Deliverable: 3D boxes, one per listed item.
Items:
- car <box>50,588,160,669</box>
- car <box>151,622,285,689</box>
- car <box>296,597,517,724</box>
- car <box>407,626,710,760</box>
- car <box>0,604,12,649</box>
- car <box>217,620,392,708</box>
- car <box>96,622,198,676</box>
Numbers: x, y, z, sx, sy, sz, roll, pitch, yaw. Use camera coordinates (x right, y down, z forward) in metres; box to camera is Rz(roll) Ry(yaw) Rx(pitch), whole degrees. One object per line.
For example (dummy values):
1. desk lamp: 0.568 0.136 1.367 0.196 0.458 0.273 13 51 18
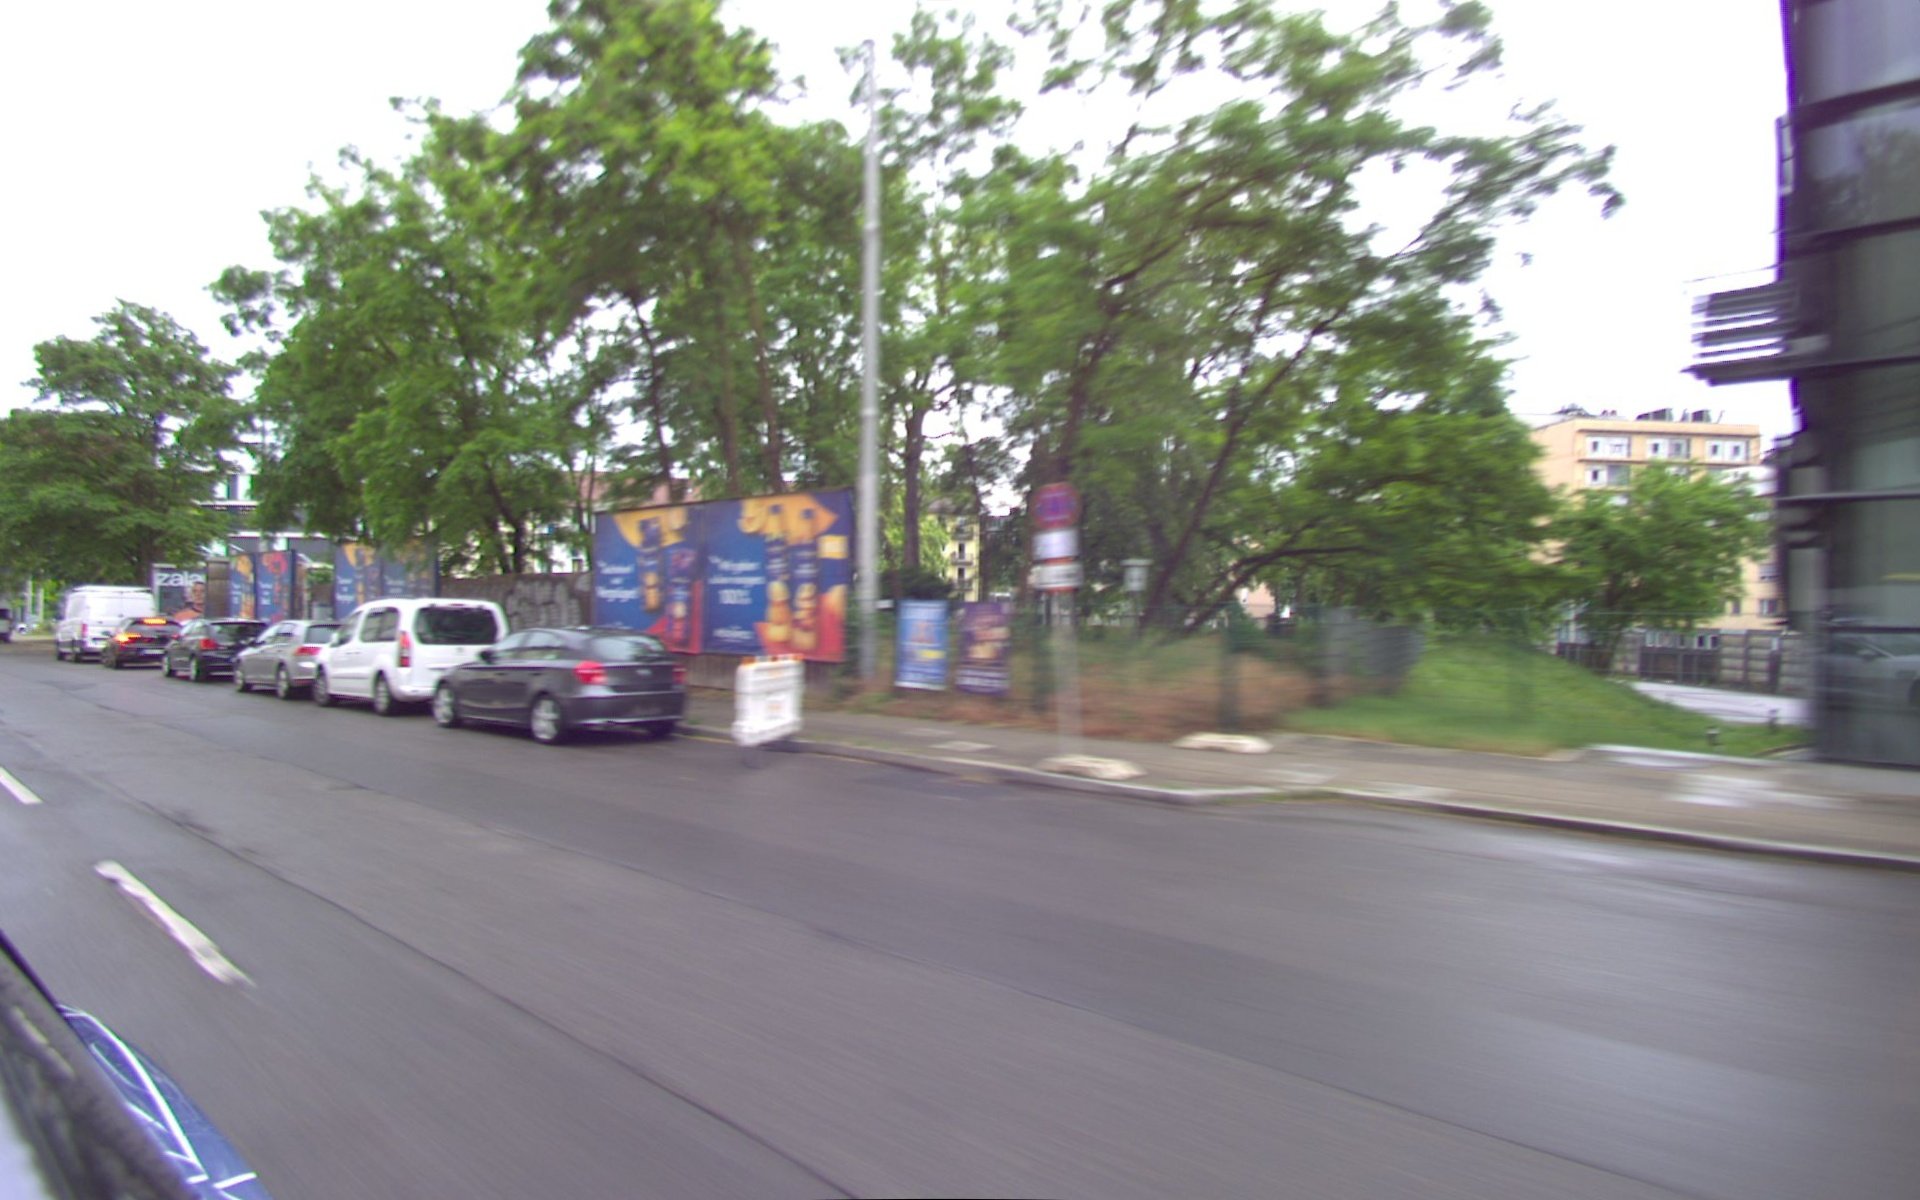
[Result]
1. car: -28.865 0.959 34.074 5.981 2.506 1.990 -1 -3 42
2. car: -17.591 1.260 23.935 3.908 1.409 1.665 0 -2 40
3. car: -9.118 0.893 16.524 4.341 1.814 1.706 0 -2 41
4. car: -5.276 1.068 13.048 4.339 1.386 1.706 0 -2 39
5. car: -58.151 1.533 59.876 6.533 2.598 2.207 -1 -3 41
6. car: -12.761 1.173 19.612 4.274 1.474 1.665 0 -2 40
7. car: -23.701 1.356 29.435 4.385 1.426 1.785 -1 -2 44
